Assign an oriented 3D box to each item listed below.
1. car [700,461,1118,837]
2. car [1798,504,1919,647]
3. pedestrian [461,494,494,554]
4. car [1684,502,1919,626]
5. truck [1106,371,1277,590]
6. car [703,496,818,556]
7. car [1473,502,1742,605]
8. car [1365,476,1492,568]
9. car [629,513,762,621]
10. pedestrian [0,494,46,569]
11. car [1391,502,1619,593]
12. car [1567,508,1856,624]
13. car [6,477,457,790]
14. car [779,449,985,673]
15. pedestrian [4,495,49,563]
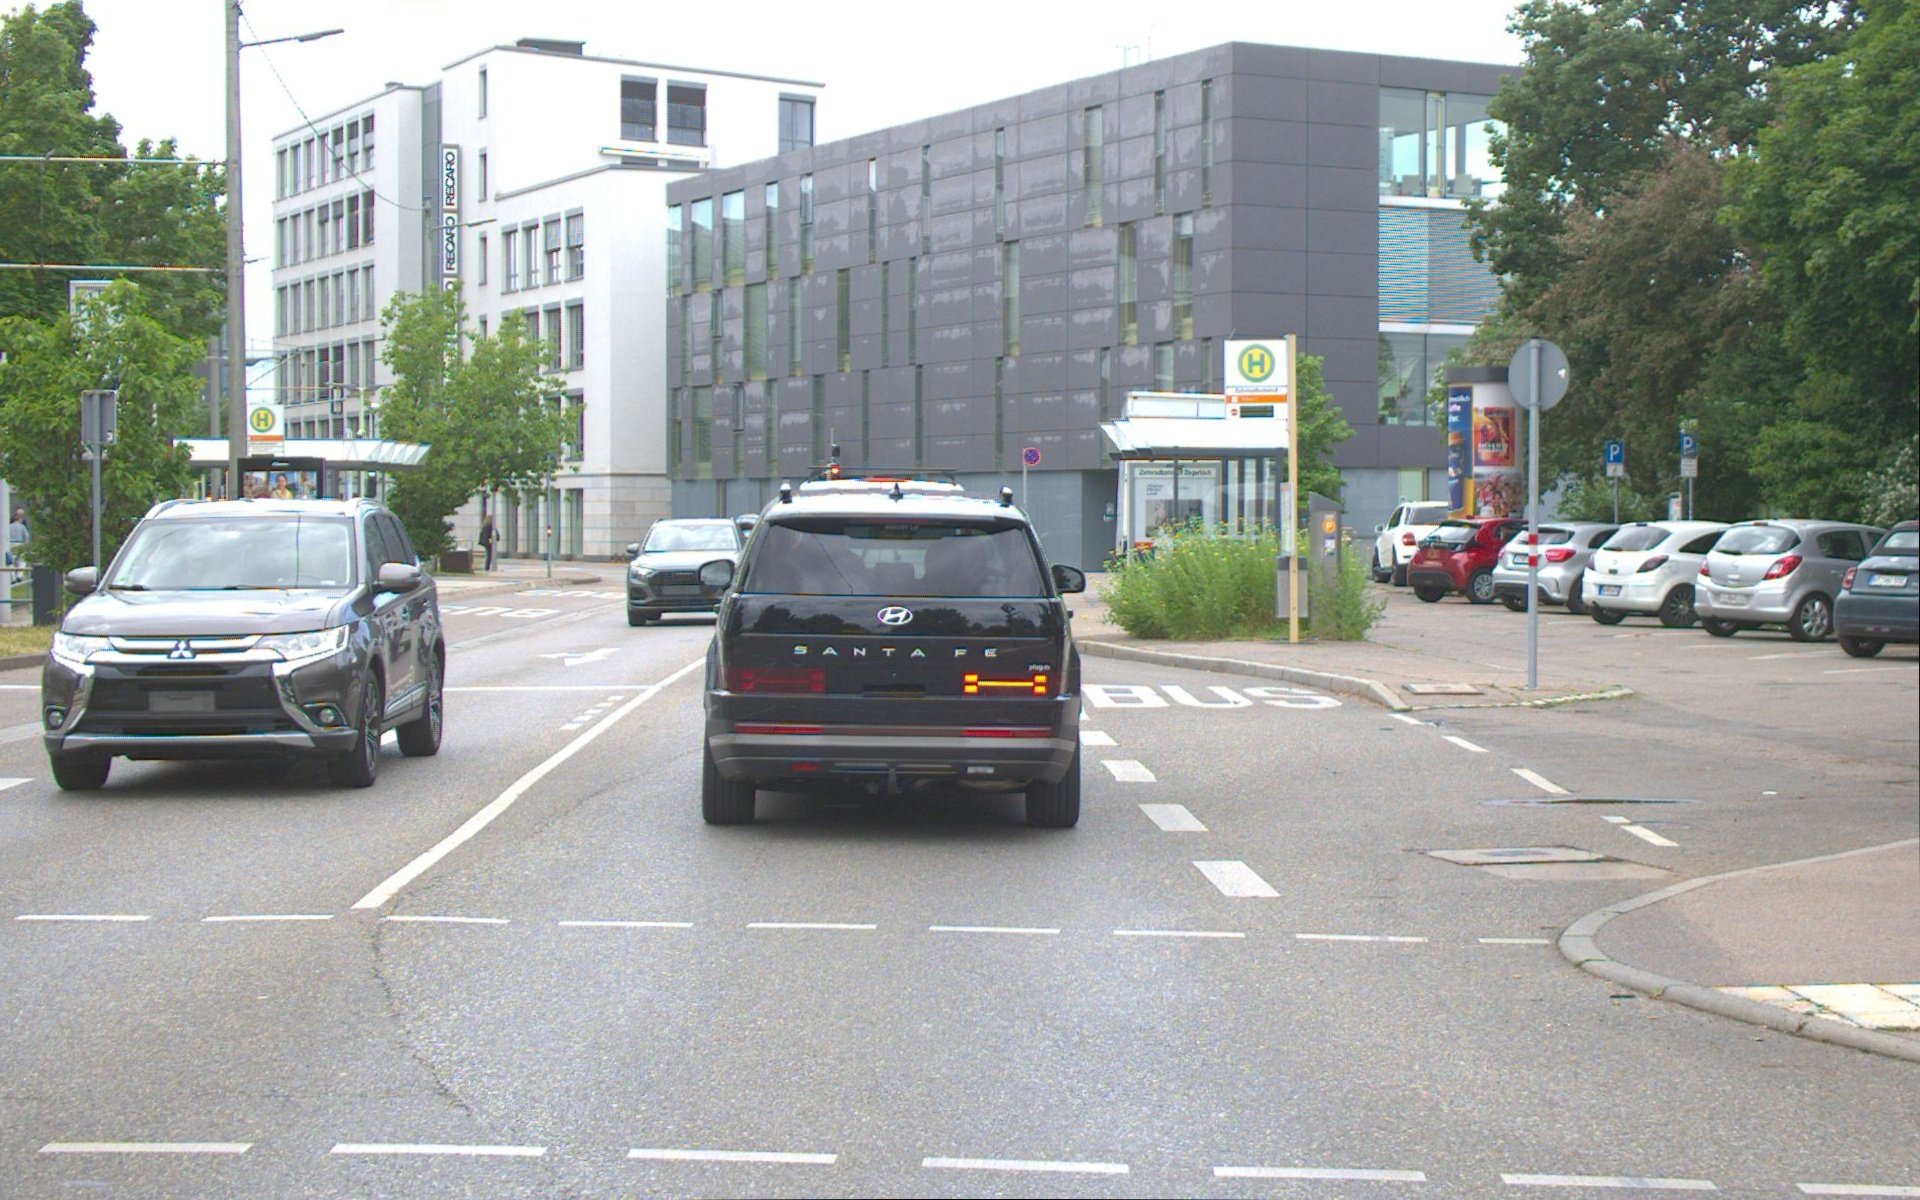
[{"bbox_3d":[-0.336,0.173,18.224,1.915,1.719,4.171,1,2,-3],"label":"car"},{"bbox_3d":[11.150,-0.290,36.993,3.987,1.472,1.880,-1,2,-32],"label":"car"},{"bbox_3d":[-14.436,-2.272,102.922,0.938,1.794,0.591,-1,2,-11],"label":"pedestrian"},{"bbox_3d":[10.707,-0.470,42.037,3.505,1.373,1.547,-2,4,-31],"label":"car"},{"bbox_3d":[3.893,-2.035,59.280,2.573,3.513,7.810,0,2,1],"label":"truck"},{"bbox_3d":[-5.766,-2.117,99.058,1.847,1.671,4.376,-2,1,-24],"label":"car"},{"bbox_3d":[10.011,-0.712,53.081,3.791,1.468,1.798,1,0,-30],"label":"car"},{"bbox_3d":[9.889,-1.630,72.852,1.993,1.831,4.518,-2,1,0],"label":"car"},{"bbox_3d":[-3.975,-0.530,52.132,1.739,1.554,4.184,-1,1,-1],"label":"car"},{"bbox_3d":[-21.723,-1.581,79.494,0.919,1.713,0.906,0,1,-1],"label":"pedestrian"},{"bbox_3d":[9.253,-0.891,58.353,3.491,1.450,1.681,1,1,-28],"label":"car"},{"bbox_3d":[10.291,-0.470,47.080,3.638,1.430,1.592,-3,1,-27],"label":"car"},{"bbox_3d":[-4.225,0.122,20.601,1.788,1.656,4.277,-1,2,0],"label":"car"},{"bbox_3d":[-0.788,-0.428,33.367,1.855,2.026,4.438,0,2,-2],"label":"car"},{"bbox_3d":[-23.802,-1.812,87.671,0.919,1.713,0.906,0,1,-1],"label":"pedestrian"}]
